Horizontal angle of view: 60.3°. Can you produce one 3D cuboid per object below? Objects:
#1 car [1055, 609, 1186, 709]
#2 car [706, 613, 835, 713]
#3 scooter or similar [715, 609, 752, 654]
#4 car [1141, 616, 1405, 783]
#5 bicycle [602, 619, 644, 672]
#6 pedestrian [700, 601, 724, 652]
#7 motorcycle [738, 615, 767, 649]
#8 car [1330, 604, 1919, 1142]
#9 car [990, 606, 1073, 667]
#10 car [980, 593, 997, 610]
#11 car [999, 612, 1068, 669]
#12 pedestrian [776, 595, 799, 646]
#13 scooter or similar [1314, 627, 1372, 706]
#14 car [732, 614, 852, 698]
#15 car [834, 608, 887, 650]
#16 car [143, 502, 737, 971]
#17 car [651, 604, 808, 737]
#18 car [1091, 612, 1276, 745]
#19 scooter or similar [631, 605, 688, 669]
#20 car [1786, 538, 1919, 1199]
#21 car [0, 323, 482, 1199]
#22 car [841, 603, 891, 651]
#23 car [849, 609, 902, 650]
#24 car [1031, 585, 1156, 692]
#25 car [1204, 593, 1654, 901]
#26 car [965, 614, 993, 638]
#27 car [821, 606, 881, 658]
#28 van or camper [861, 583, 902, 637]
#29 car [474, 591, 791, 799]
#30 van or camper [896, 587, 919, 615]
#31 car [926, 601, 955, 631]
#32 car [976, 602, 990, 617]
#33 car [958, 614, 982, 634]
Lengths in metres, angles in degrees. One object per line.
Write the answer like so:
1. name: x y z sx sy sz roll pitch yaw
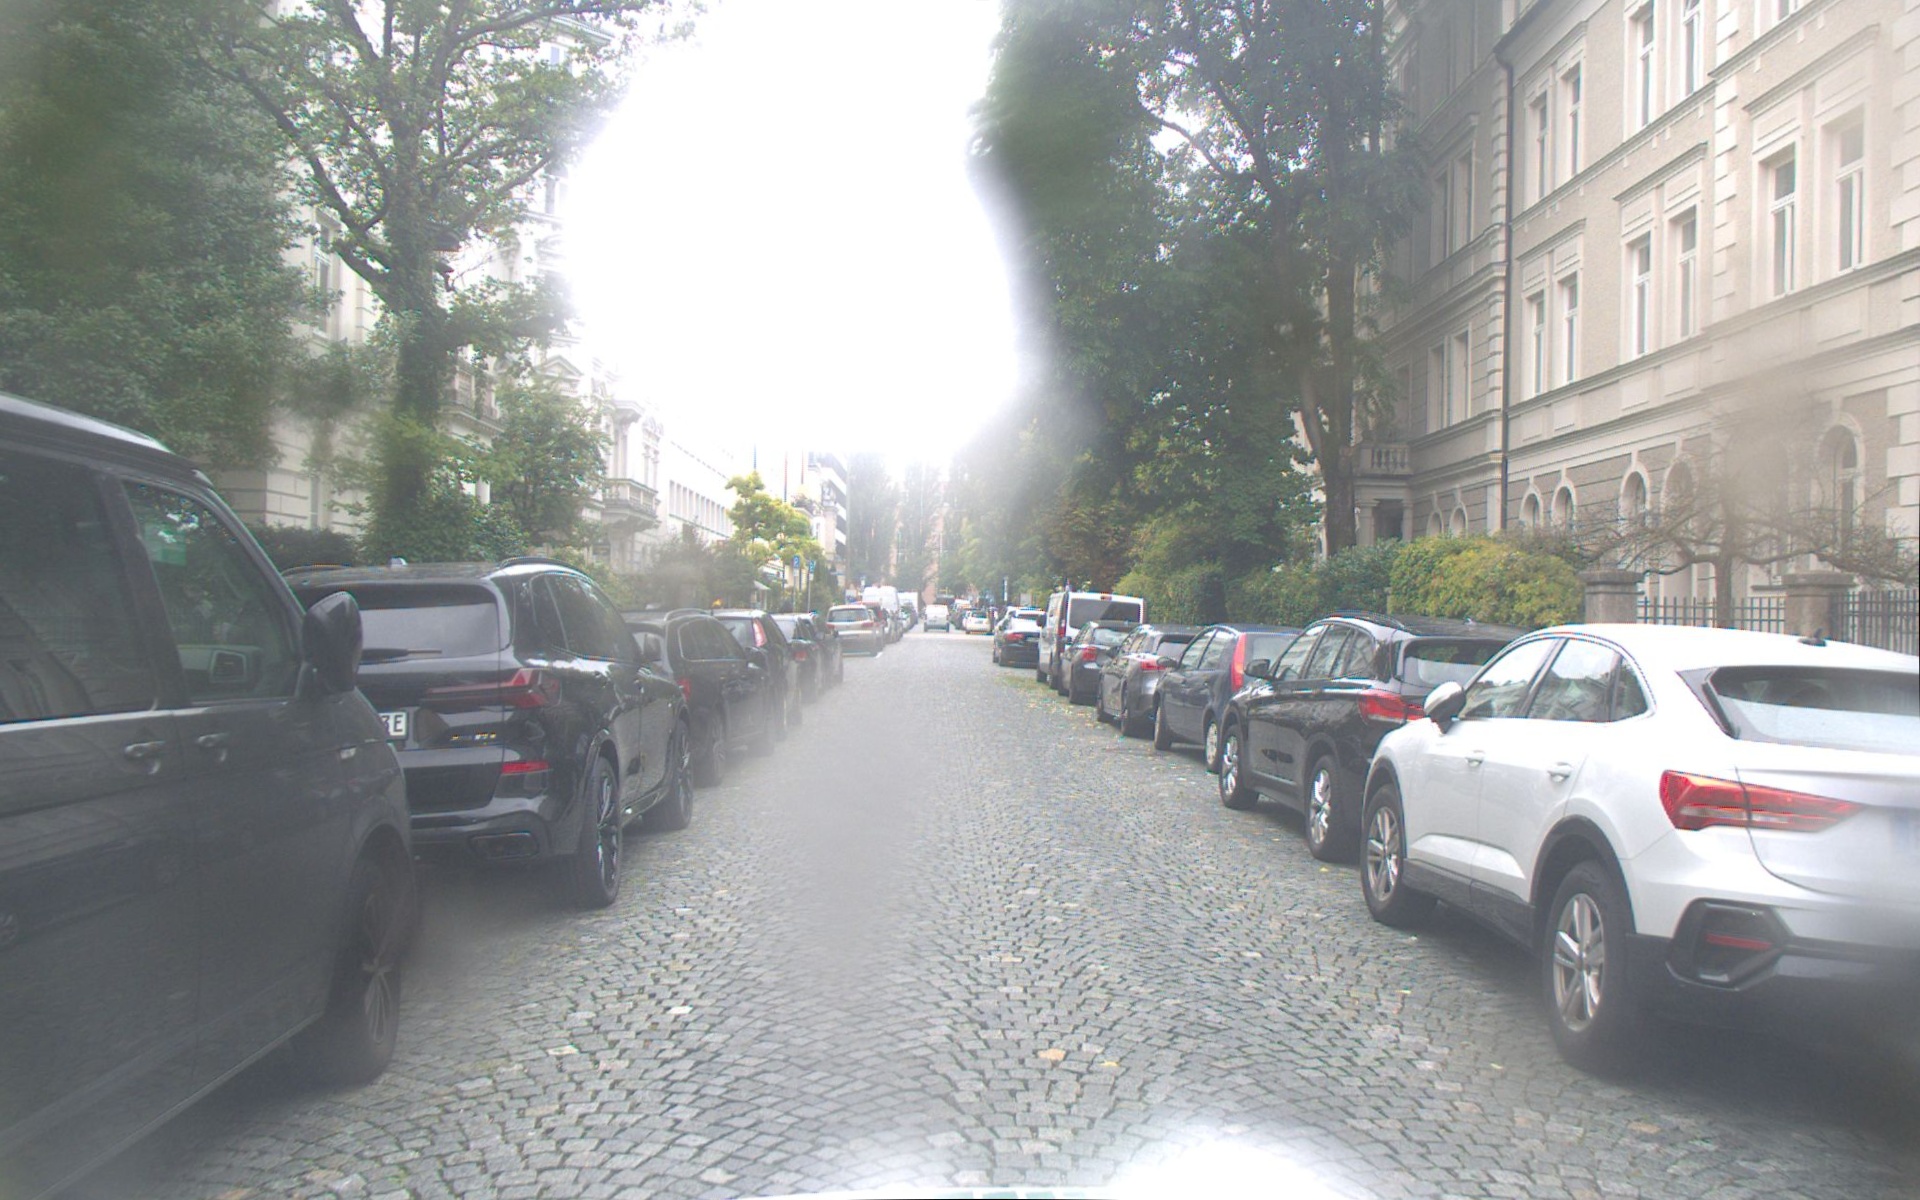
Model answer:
1. car: 2.751 0.989 29.196 1.800 1.516 4.421 4 -1 0
2. car: -3.076 0.984 27.603 1.747 1.442 4.495 -2 0 -2
3. scooter or similar: -7.752 1.067 56.825 0.922 1.467 2.656 1 0 -1
4. car: 3.195 0.967 17.714 1.661 1.465 4.057 4 -1 -5
5. bicycle: -7.607 1.016 37.401 0.565 1.142 2.050 1 0 -2
6. pedestrian: -8.589 0.914 57.333 0.703 1.717 0.695 1 -1 -2
7. motorcycle: -7.832 1.200 62.436 0.609 1.217 1.866 1 -1 8
8. car: 3.033 0.832 7.122 1.835 1.516 4.617 3 0 1
9. car: 1.966 0.994 46.875 1.836 1.529 4.508 4 -1 -3
10. car: 3.627 0.249 211.401 1.953 2.049 3.999 1 -1 0
11. car: 2.274 1.237 52.105 1.781 1.607 4.206 4 -1 -2
12. pedestrian: -6.805 0.803 65.361 0.776 1.951 0.758 2 -1 -1
13. scooter or similar: 6.358 1.094 27.492 0.407 1.256 1.242 -2 0 -12
14. car: -3.210 1.041 32.352 1.848 1.442 4.406 -2 0 0
15. car: -3.627 1.044 60.614 1.836 1.476 4.205 -1 0 -3
16. car: -2.604 0.607 9.773 1.953 1.950 5.175 -2 0 -2
17. car: -2.750 0.799 20.429 1.629 1.469 4.168 0 -1 -4
18. car: 2.866 0.967 22.094 1.679 1.498 4.267 4 -1 -2
19. scooter or similar: -7.267 0.881 40.104 0.922 1.467 2.655 3 -1 -2
20. car: 3.246 0.798 1.993 1.836 1.765 4.744 5 -1 -3
21. car: -2.626 0.507 3.661 1.835 1.951 4.825 -1 0 -2
22. car: -3.776 1.074 66.938 1.835 1.807 4.121 -2 0 -2
23. car: -3.665 1.286 72.307 1.834 1.607 4.209 3 -1 2
24. car: 2.706 0.766 34.678 1.836 1.962 5.161 4 -1 -3
25. car: 3.120 0.889 12.101 1.835 1.699 4.656 4 -1 -1
26. car: 1.231 1.700 108.449 1.753 1.547 3.999 1 -1 0
27. car: -3.562 1.021 54.585 1.836 1.607 4.252 -2 0 -3
28. van or camper: -4.111 0.540 87.262 1.953 2.699 3.999 -2 -1 0
29. car: -2.806 0.755 15.382 1.938 1.588 5.017 -1 0 0
30. van or camper: -5.437 0.097 171.802 2.210 2.790 5.096 2 -1 -1
31. car: -1.362 1.105 116.166 1.953 2.049 3.999 1 -1 0
32. car: 3.249 1.357 235.948 1.953 2.049 3.999 1 -1 0
33. car: 0.762 1.850 129.028 1.753 1.547 3.999 1 -1 0
